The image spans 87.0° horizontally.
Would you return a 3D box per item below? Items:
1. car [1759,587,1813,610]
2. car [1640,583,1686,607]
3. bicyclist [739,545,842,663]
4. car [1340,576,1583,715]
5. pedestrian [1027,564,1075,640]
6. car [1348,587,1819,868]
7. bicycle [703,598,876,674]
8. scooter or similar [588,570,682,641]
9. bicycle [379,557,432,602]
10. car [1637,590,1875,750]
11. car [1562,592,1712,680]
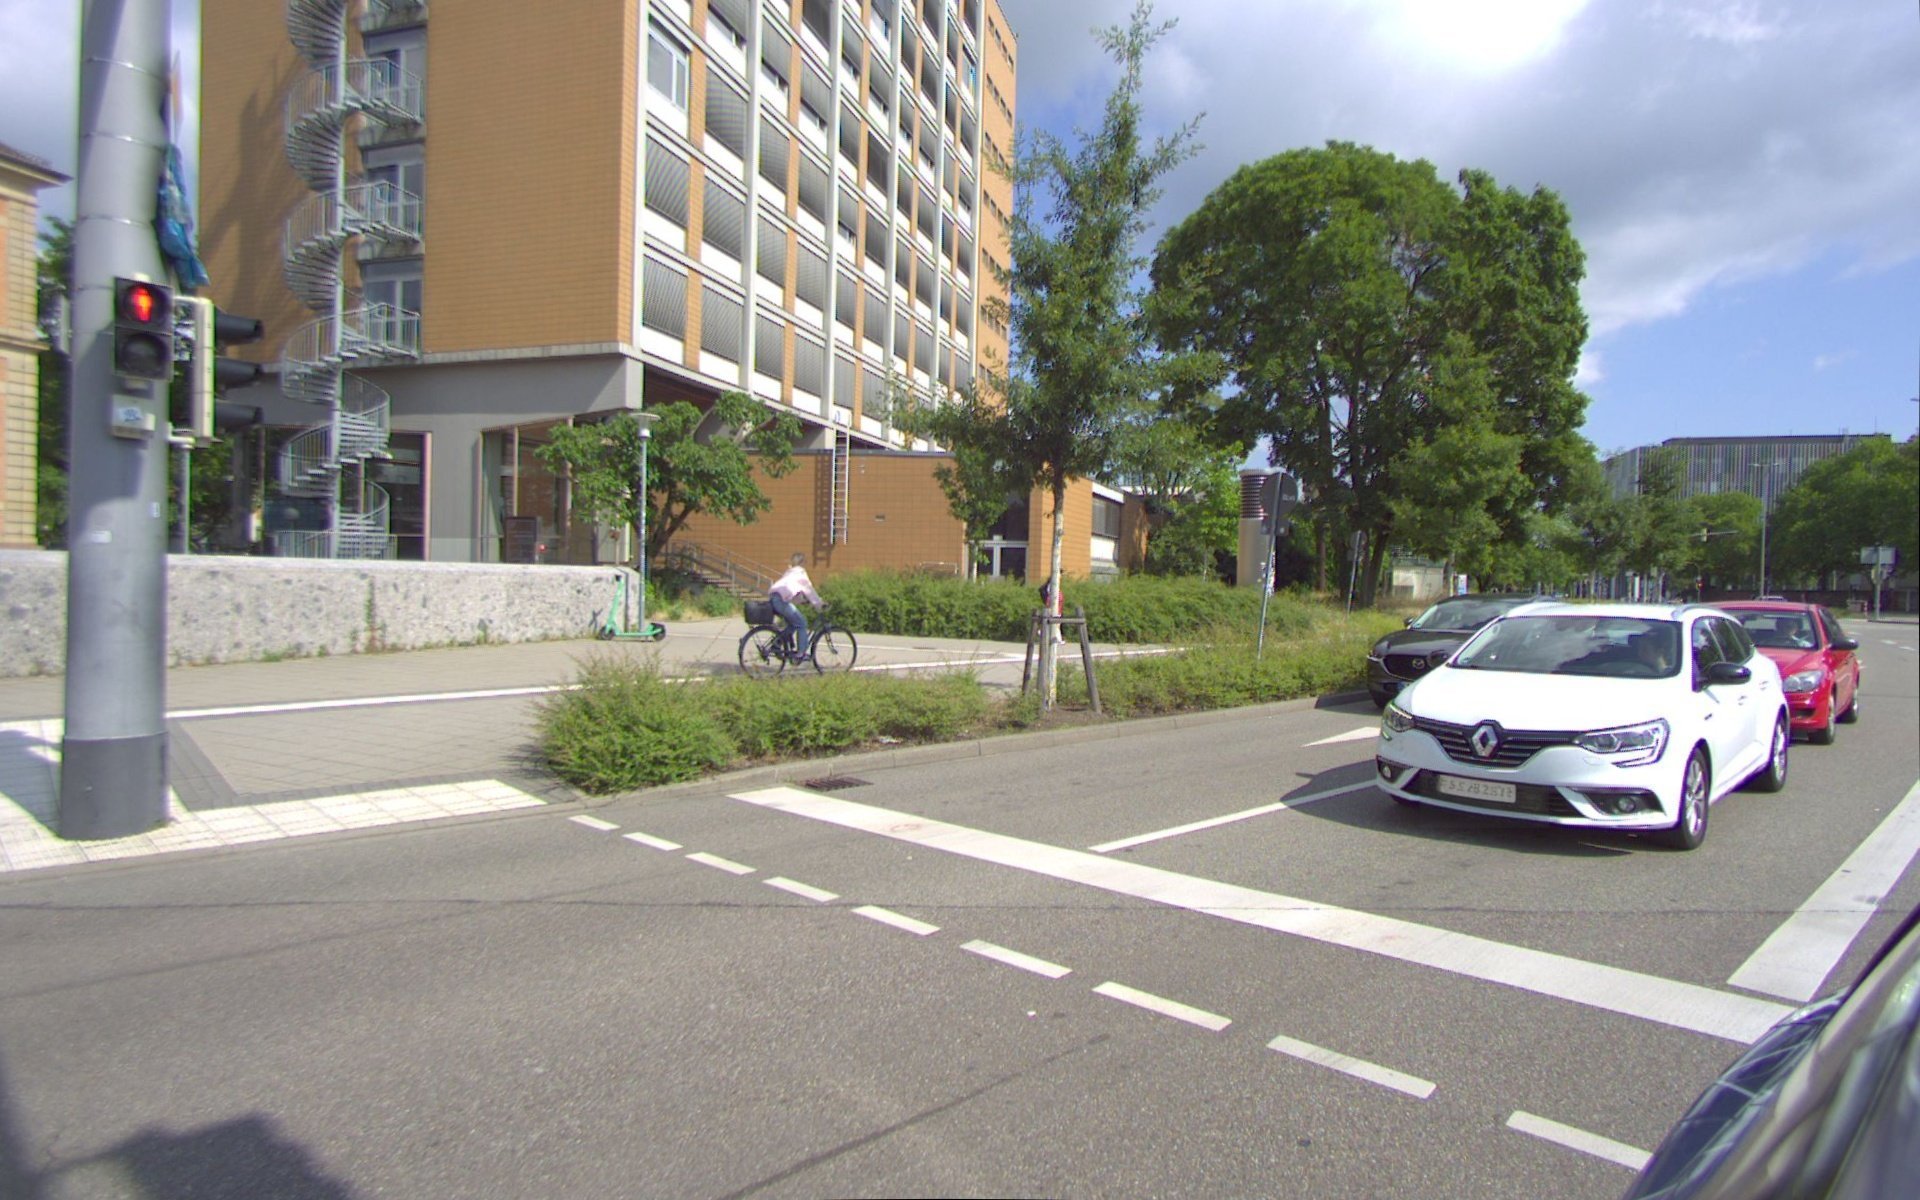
[{"bbox_3d":[58.552,-0.143,71.798,1.810,1.544,3.971,2,1,22],"label":"car"},{"bbox_3d":[51.957,-0.386,74.852,1.977,1.777,3.970,0,1,23],"label":"car"},{"bbox_3d":[-2.224,0.038,13.327,1.149,1.475,0.635,0,1,-42],"label":"bicyclist"},{"bbox_3d":[6.869,0.489,13.661,4.142,1.596,1.642,-1,1,-44],"label":"car"},{"bbox_3d":[1.957,0.032,21.845,0.940,1.598,0.769,1,1,2],"label":"pedestrian"},{"bbox_3d":[4.849,0.651,7.543,4.594,1.447,1.760,-1,1,-42],"label":"car"},{"bbox_3d":[-2.202,0.434,13.338,2.236,0.909,0.652,0,1,-42],"label":"bicycle"},{"bbox_3d":[-5.861,0.087,18.287,1.506,1.198,0.435,3,1,-5],"label":"scooter or similar"},{"bbox_3d":[-16.274,-0.600,29.743,0.423,1.263,1.466,1,1,18],"label":"bicycle"},{"bbox_3d":[9.280,0.654,11.676,3.998,1.486,1.642,-1,1,-44],"label":"car"},{"bbox_3d":[12.543,0.584,18.648,1.583,1.402,4.013,0,1,44],"label":"car"}]
